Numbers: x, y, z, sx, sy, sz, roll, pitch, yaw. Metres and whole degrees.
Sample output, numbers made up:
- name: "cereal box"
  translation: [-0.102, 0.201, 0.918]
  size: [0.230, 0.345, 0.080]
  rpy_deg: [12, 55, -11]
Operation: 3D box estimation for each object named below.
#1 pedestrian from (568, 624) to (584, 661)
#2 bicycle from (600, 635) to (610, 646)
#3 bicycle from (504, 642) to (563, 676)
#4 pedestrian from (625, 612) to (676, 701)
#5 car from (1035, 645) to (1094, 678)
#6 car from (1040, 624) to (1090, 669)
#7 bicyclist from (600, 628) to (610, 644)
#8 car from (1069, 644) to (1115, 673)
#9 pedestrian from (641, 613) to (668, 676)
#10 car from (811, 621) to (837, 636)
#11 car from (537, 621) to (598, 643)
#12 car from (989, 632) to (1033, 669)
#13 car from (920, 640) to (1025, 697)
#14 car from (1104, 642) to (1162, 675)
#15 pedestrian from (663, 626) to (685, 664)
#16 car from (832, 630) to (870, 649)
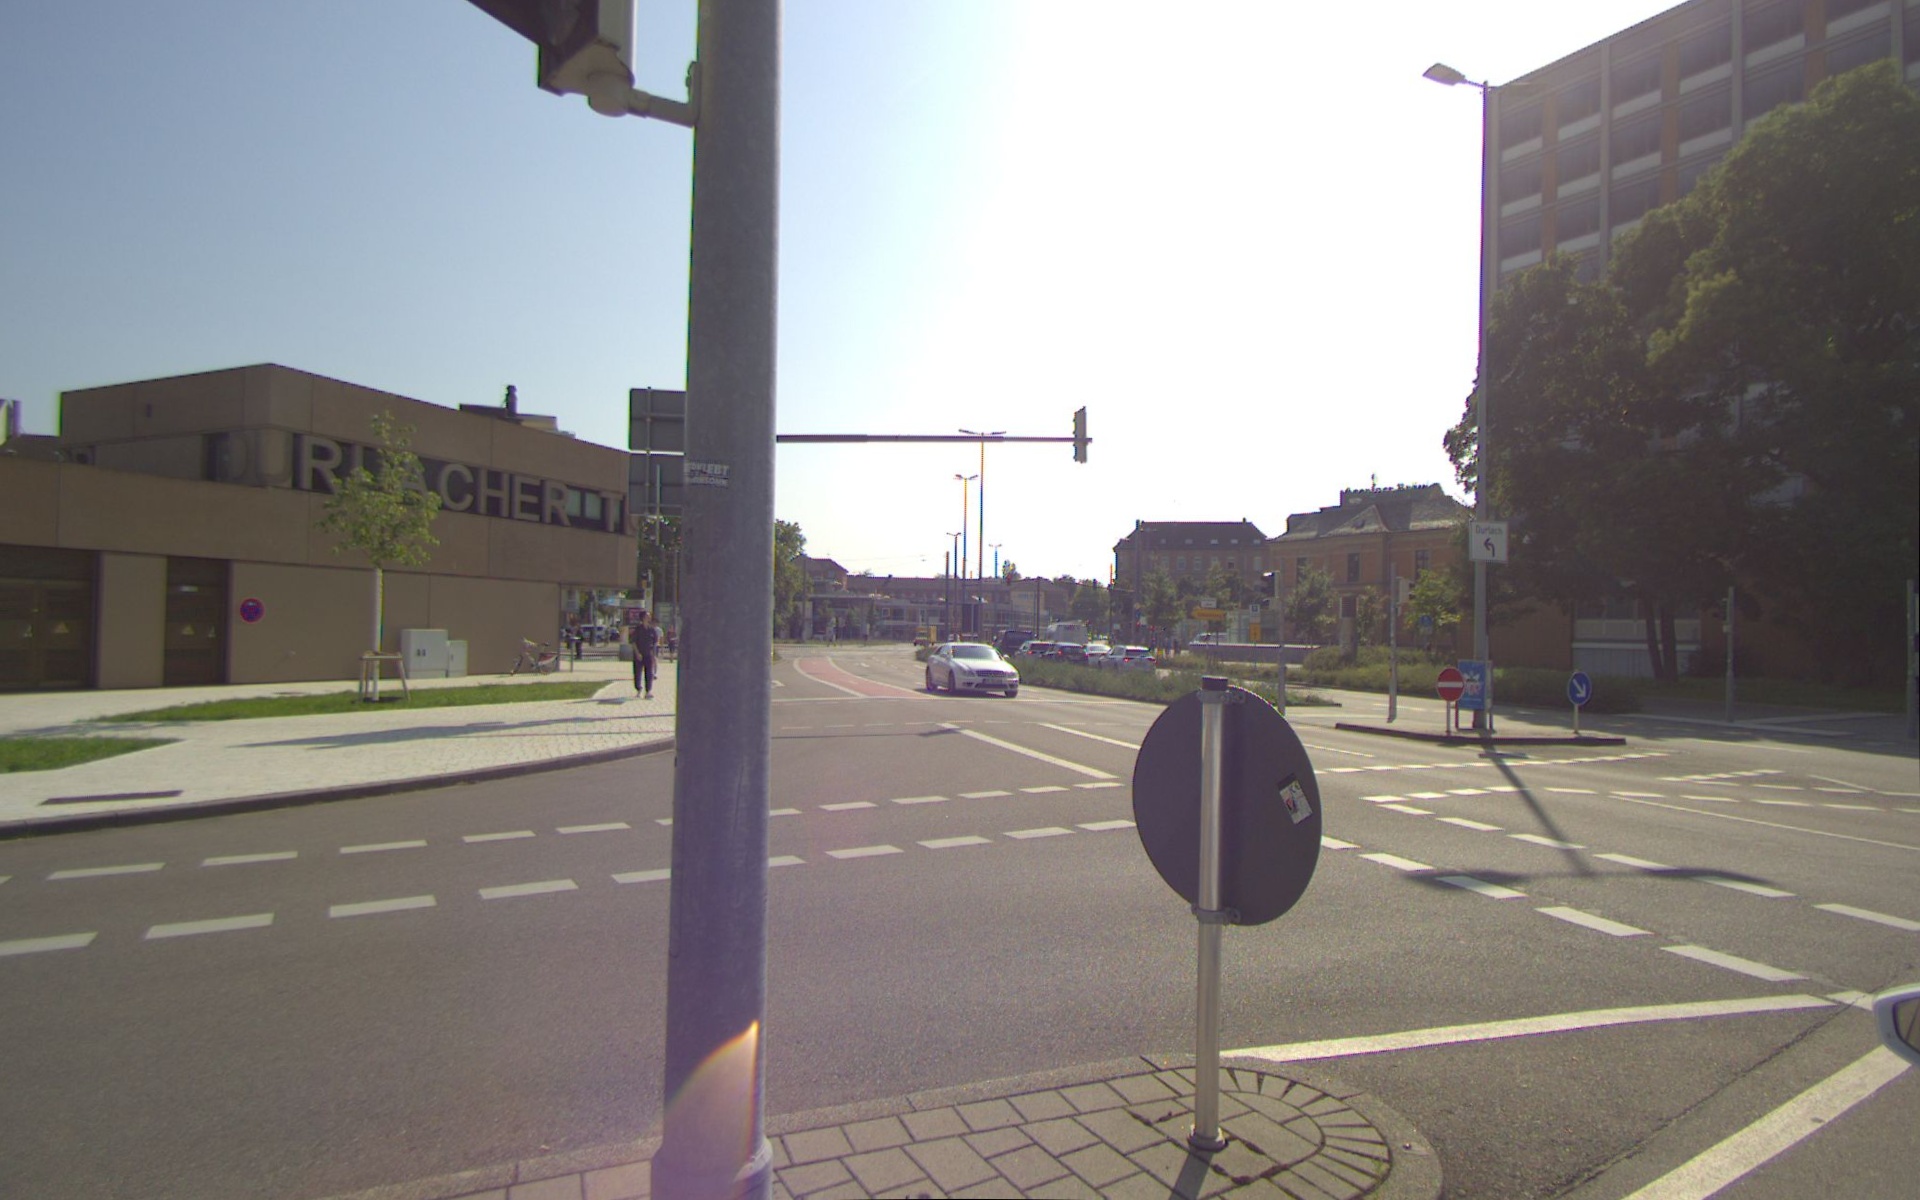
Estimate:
- name: "pedestrian"
  translation: [-17.166, 1.902, 44.887]
  size: [0.489, 1.601, 0.507]
  rpy_deg: [2, 1, -5]
- name: "bicycle"
  translation: [-31.559, 3.584, 89.278]
  size: [0.720, 0.997, 1.722]
  rpy_deg: [2, -2, -24]
- name: "bicycle"
  translation: [-12.970, 1.795, 30.588]
  size: [0.648, 0.968, 1.612]
  rpy_deg: [2, -1, 23]
- name: "pedestrian"
  translation: [-6.699, 1.198, 21.697]
  size: [0.723, 1.864, 1.072]
  rpy_deg: [2, -1, -36]
- name: "car"
  translation: [4.764, 2.781, 46.258]
  size: [1.676, 1.386, 3.957]
  rpy_deg: [2, -2, -10]
- name: "car"
  translation: [6.360, 2.827, 61.396]
  size: [2.154, 2.582, 4.682]
  rpy_deg: [2, -3, -4]
- name: "bicyclist"
  translation: [-31.586, 3.220, 89.380]
  size: [0.718, 1.453, 0.686]
  rpy_deg: [2, -2, -24]
- name: "car"
  translation: [6.828, 3.044, 52.400]
  size: [1.466, 1.421, 3.939]
  rpy_deg: [2, -3, -6]
- name: "pedestrian"
  translation: [-9.134, 1.338, 30.042]
  size: [0.685, 1.857, 0.567]
  rpy_deg: [2, -2, -24]
- name: "car"
  translation: [-20.916, 4.415, 154.248]
  size: [3.928, 2.040, 1.997]
  rpy_deg: [2, 0, -9]
- name: "car"
  translation: [-38.585, 3.171, 98.973]
  size: [5.478, 2.040, 1.991]
  rpy_deg: [2, -2, -21]
- name: "car"
  translation: [2.951, 2.979, 59.358]
  size: [1.991, 2.034, 4.682]
  rpy_deg: [2, -3, -4]
- name: "car"
  translation: [0.237, 1.873, 28.280]
  size: [1.816, 1.379, 4.807]
  rpy_deg: [2, -2, -14]
- name: "car"
  translation: [7.870, 2.667, 45.995]
  size: [1.659, 1.405, 3.631]
  rpy_deg: [2, -3, -6]
- name: "pedestrian"
  translation: [-13.790, 2.172, 48.445]
  size: [0.673, 1.783, 0.868]
  rpy_deg: [3, -2, -41]
- name: "car"
  translation: [-12.424, 4.520, 114.516]
  size: [3.939, 2.040, 1.991]
  rpy_deg: [1, -2, -20]
